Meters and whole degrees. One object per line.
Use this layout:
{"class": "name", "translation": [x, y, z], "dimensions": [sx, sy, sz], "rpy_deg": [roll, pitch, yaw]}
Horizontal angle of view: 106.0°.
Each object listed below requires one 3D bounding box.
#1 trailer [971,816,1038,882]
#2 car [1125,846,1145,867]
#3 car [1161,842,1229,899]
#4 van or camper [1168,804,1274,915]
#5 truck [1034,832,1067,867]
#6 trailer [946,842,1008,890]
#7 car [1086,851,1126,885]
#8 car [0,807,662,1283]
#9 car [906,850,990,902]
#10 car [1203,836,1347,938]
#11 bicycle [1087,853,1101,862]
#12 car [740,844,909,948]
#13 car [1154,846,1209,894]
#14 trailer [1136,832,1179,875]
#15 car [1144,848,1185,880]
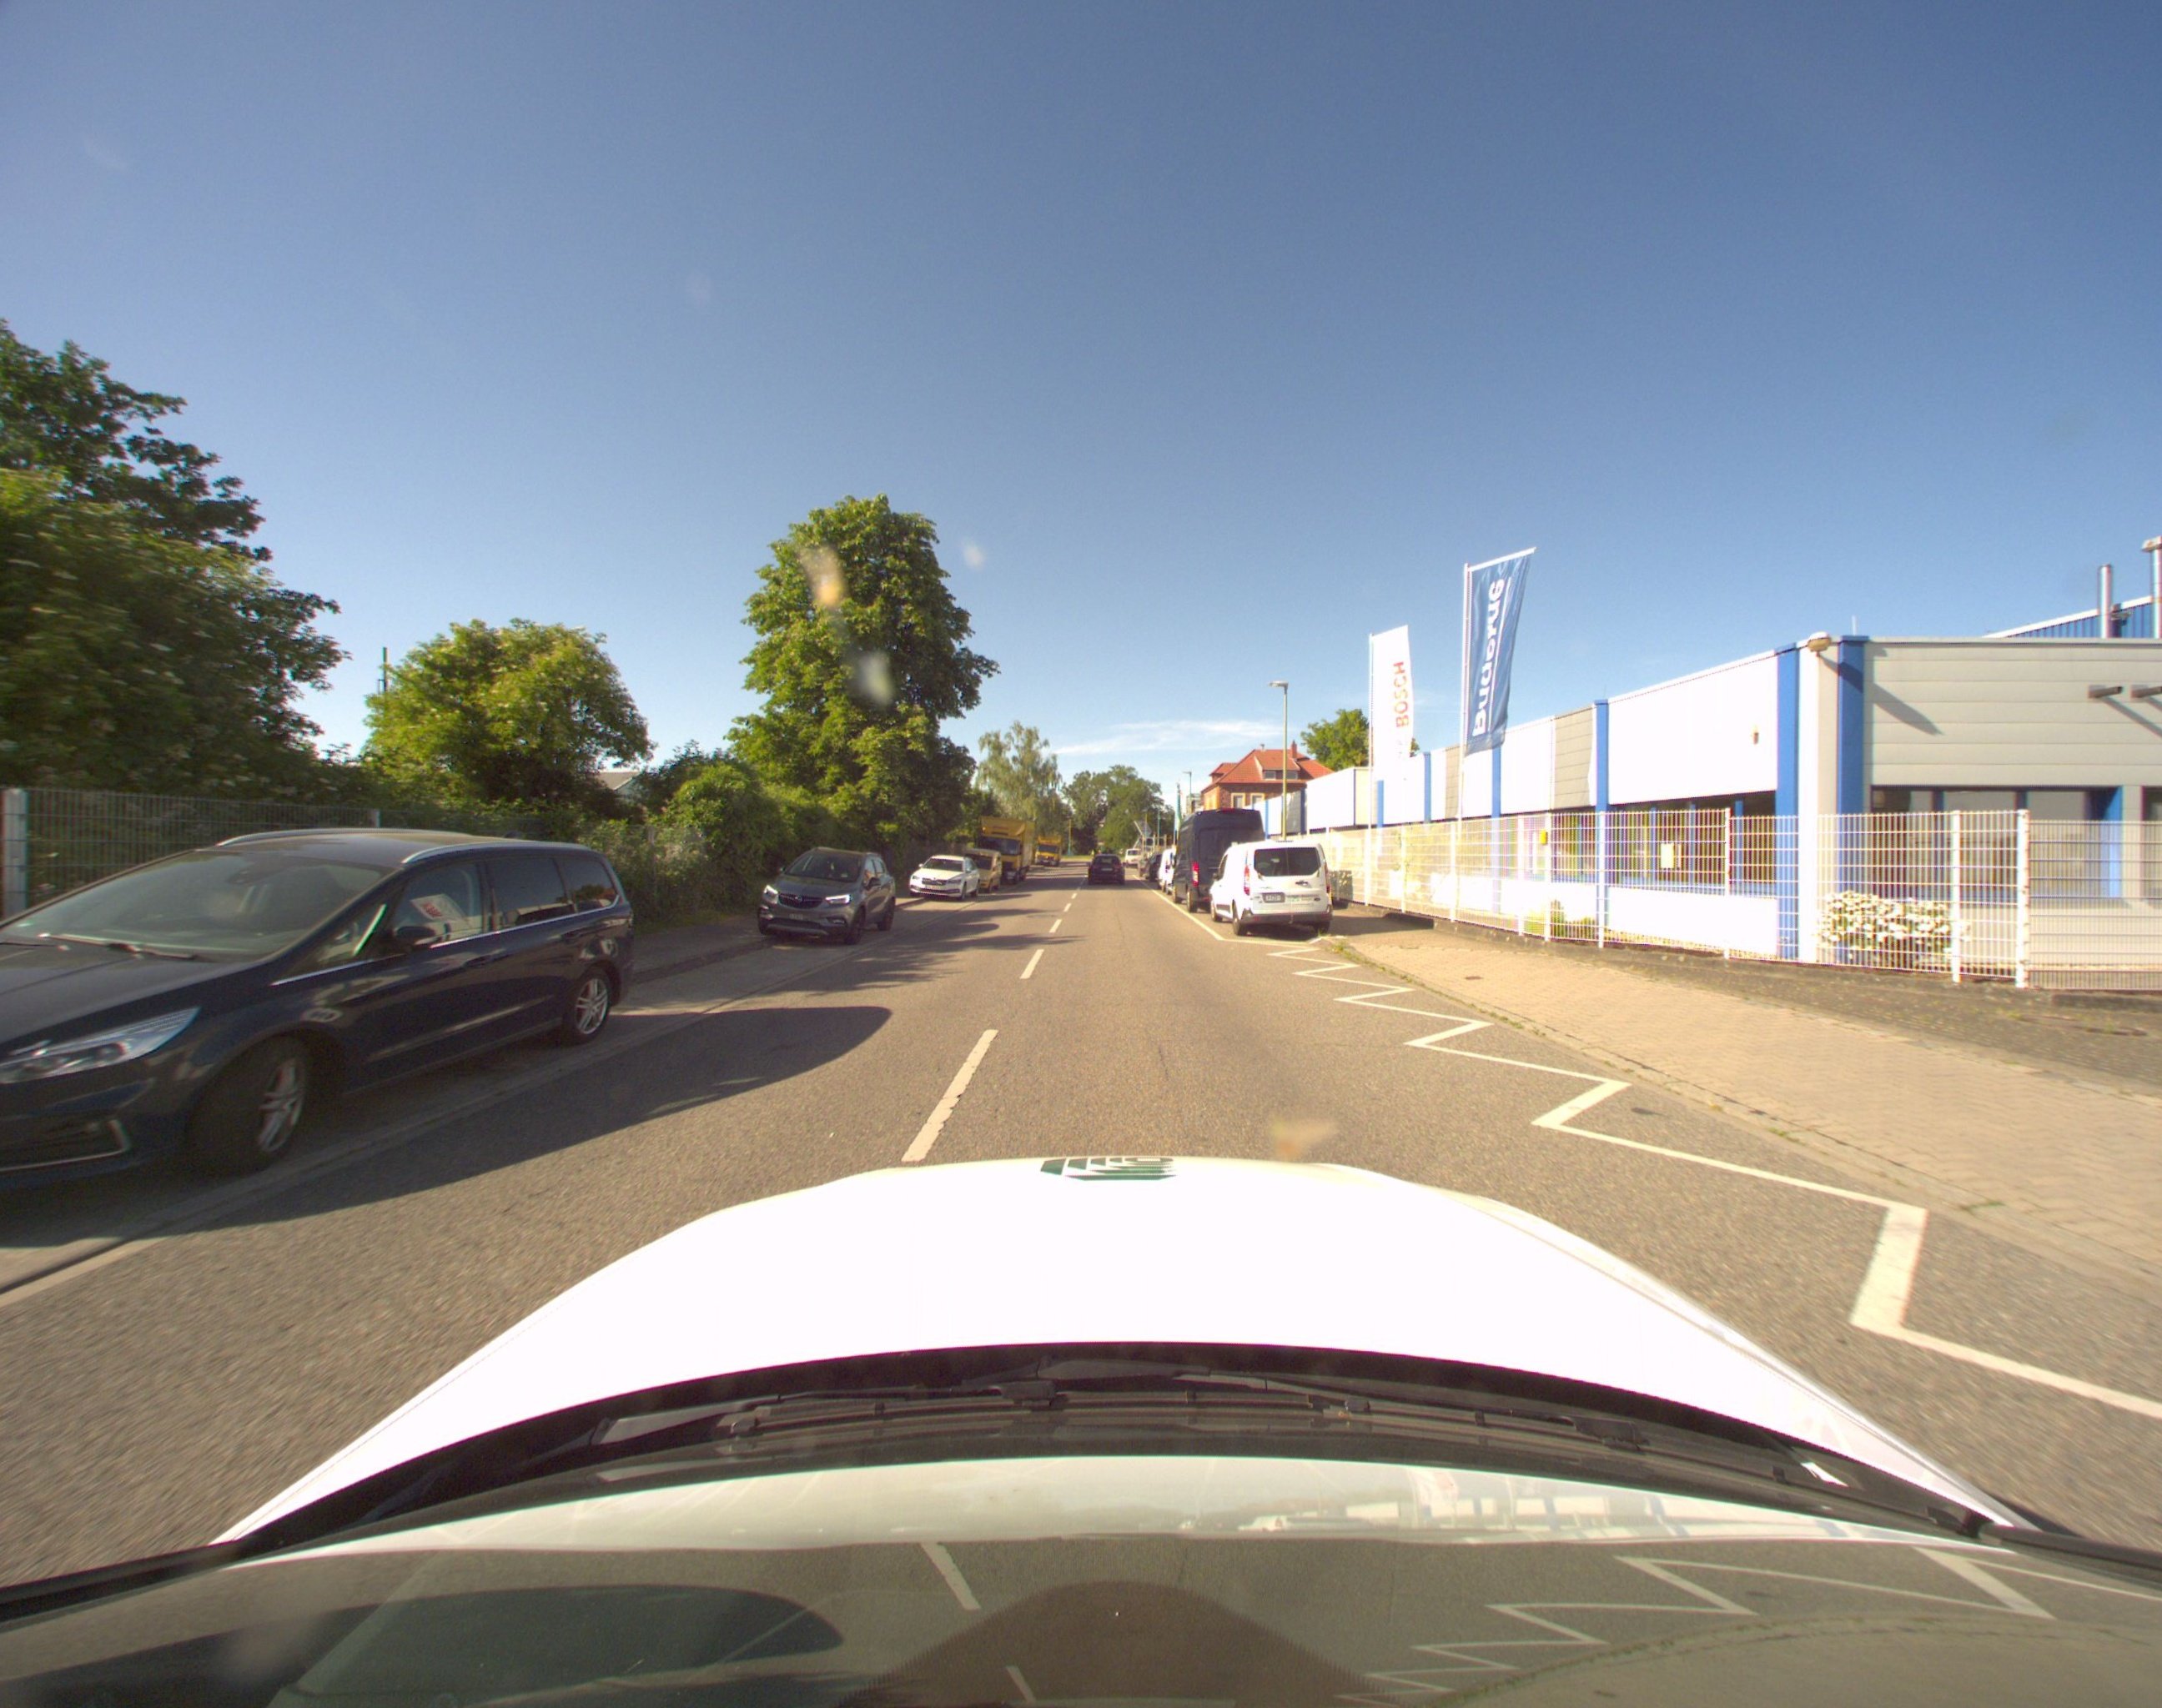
{"class": "trailer", "translation": [-4.188, -0.281, 46.521], "dimensions": [2.981, 3.443, 8.161], "rpy_deg": [0, 0, 0]}
{"class": "car", "translation": [5.505, 0.227, 83.853], "dimensions": [1.867, 2.013, 5.163], "rpy_deg": [2, 0, 2]}
{"class": "car", "translation": [4.048, 0.562, 29.769], "dimensions": [1.879, 1.847, 5.106], "rpy_deg": [2, 0, 2]}
{"class": "van or camper", "translation": [3.890, 0.150, 23.776], "dimensions": [2.133, 2.759, 6.163], "rpy_deg": [2, 0, 2]}
{"class": "truck", "translation": [-3.299, -0.578, 90.128], "dimensions": [2.622, 3.504, 8.662], "rpy_deg": [6, 1, 2]}
{"class": "trailer", "translation": [-4.453, 0.483, 35.611], "dimensions": [1.986, 1.941, 4.417], "rpy_deg": [0, 0, 2]}
{"class": "car", "translation": [1.257, 0.640, 40.019], "dimensions": [1.840, 1.530, 4.003], "rpy_deg": [0, 0, 2]}
{"class": "car", "translation": [-4.989, 0.697, 5.516], "dimensions": [1.787, 1.730, 4.798], "rpy_deg": [6, 0, -2]}
{"class": "car", "translation": [-4.717, 0.736, 29.651], "dimensions": [1.900, 1.593, 5.028], "rpy_deg": [4, 0, 2]}
{"class": "car", "translation": [3.907, 0.611, 17.331], "dimensions": [1.879, 1.797, 5.104], "rpy_deg": [2, 0, 1]}
{"class": "bicycle", "translation": [1.937, 0.498, 123.727], "dimensions": [0.810, 1.221, 2.233], "rpy_deg": [2, 0, -38]}
{"class": "car", "translation": [-4.902, 0.703, 16.310], "dimensions": [1.902, 1.662, 4.462], "rpy_deg": [4, 0, -1]}
{"class": "car", "translation": [4.228, 0.651, 35.010], "dimensions": [1.848, 1.830, 5.170], "rpy_deg": [2, 0, 2]}
{"class": "trailer", "translation": [4.917, -0.034, 53.292], "dimensions": [2.451, 2.672, 5.703], "rpy_deg": [0, 0, 1]}
{"class": "car", "translation": [4.736, 0.538, 46.745], "dimensions": [1.986, 1.667, 4.733], "rpy_deg": [2, 0, 2]}
